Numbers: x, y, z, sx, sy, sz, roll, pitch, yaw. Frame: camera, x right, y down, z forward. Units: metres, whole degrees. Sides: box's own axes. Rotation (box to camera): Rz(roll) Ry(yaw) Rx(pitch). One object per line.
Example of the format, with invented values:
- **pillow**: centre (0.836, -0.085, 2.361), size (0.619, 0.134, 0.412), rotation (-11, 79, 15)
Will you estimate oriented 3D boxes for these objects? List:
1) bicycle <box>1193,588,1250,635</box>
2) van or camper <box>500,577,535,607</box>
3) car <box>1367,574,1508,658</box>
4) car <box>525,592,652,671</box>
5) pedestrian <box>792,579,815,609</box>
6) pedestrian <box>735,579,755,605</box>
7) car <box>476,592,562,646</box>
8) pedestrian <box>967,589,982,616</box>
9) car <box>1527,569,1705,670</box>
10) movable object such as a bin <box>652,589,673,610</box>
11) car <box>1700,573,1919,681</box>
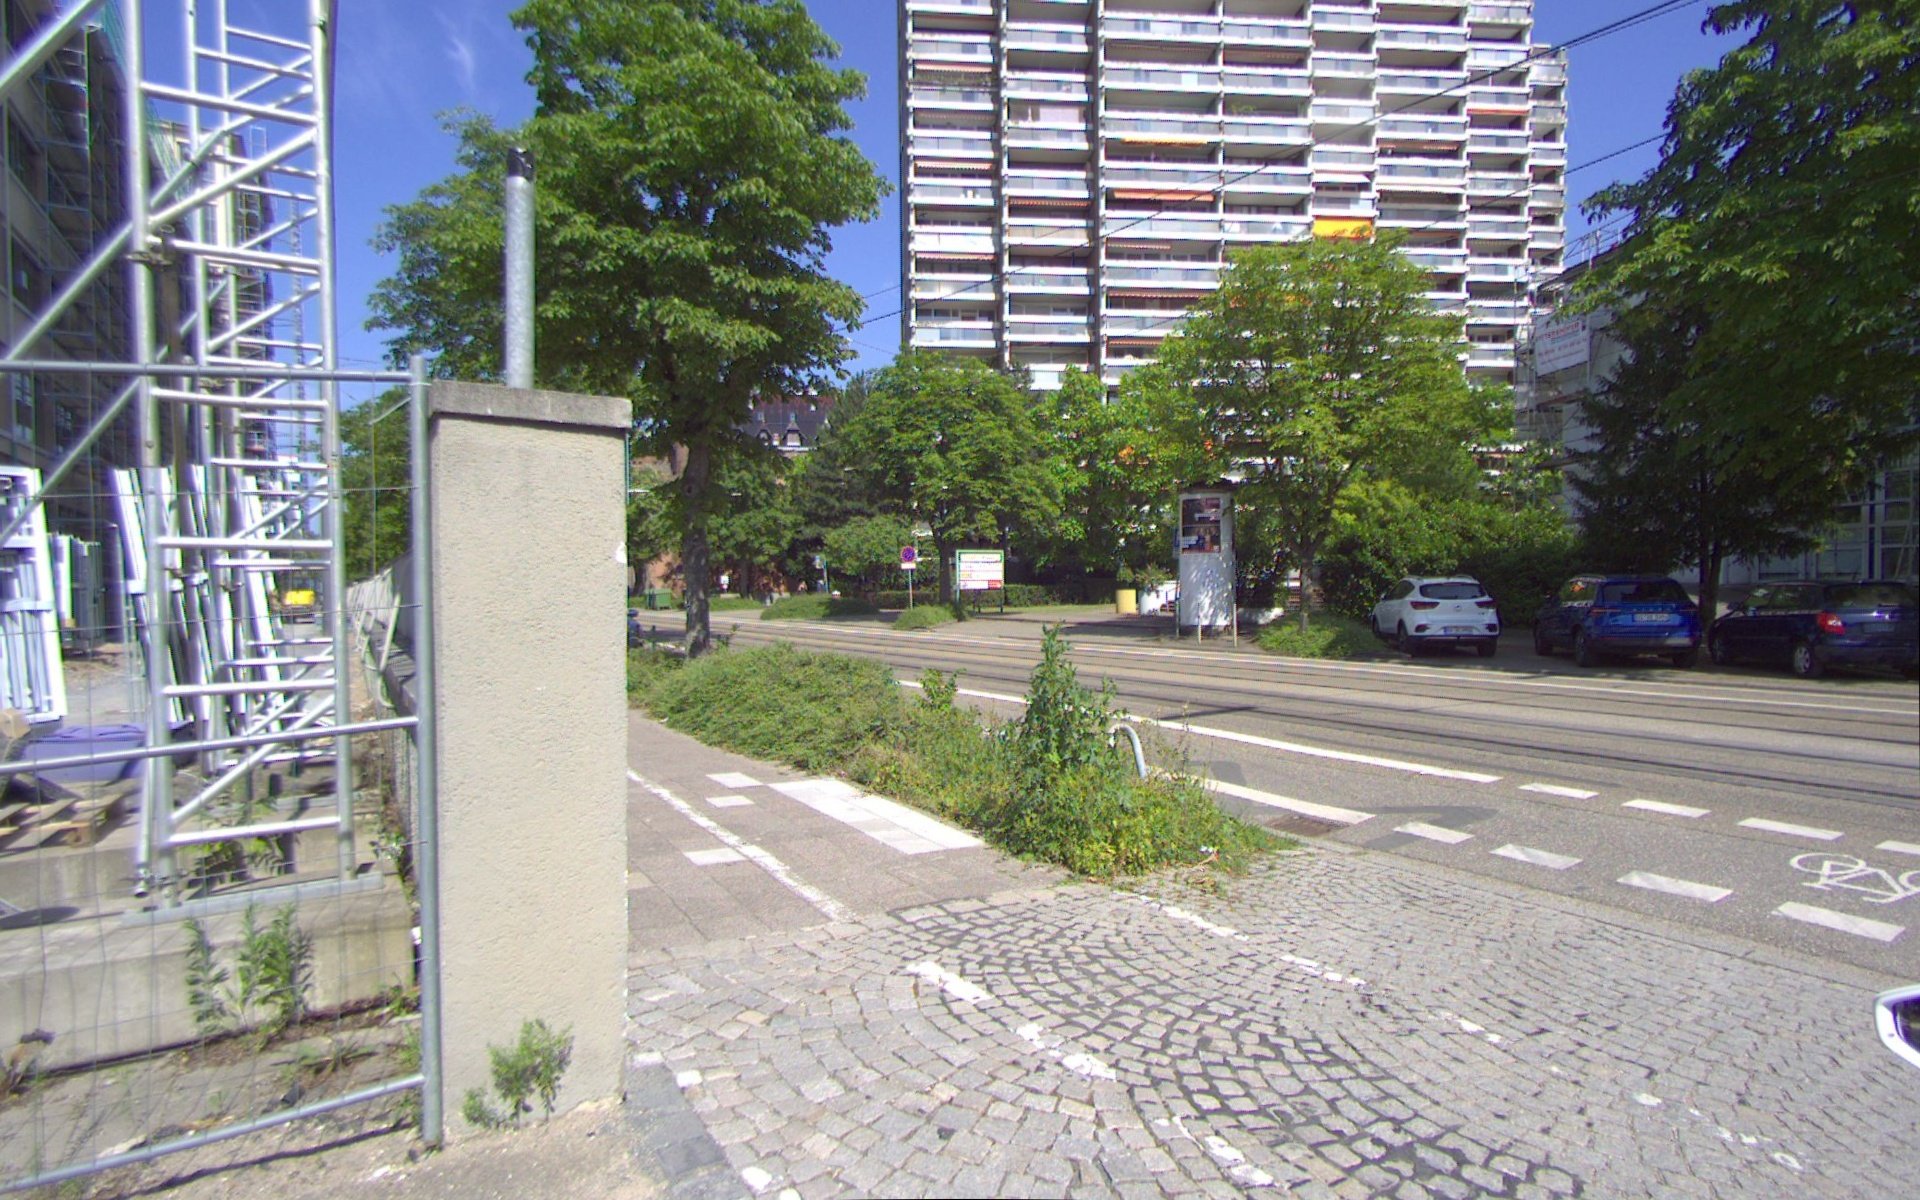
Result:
- **bicycle**: centre (7.513, 0.321, 28.877), size (0.542, 1.326, 1.604), rotation (-1, 1, -37)
- **van or camper**: centre (-40.255, -0.767, 91.363), size (2.028, 2.655, 5.808), rotation (-1, 1, -33)
- **car**: centre (10.130, 0.283, 21.631), size (1.783, 1.628, 3.947), rotation (0, 1, 10)
- **car**: centre (-8.128, 0.606, 21.760), size (1.801, 1.514, 4.071), rotation (-1, 1, -32)
- **pedestrian**: centre (-9.782, -0.379, 62.821), size (1.047, 1.822, 1.255), rotation (1, 1, -28)
- **pedestrian**: centre (-15.241, -0.583, 71.206), size (1.047, 1.822, 1.255), rotation (1, 1, -29)
- **car**: centre (-13.238, 0.514, 30.021), size (1.801, 1.473, 3.965), rotation (-1, 1, -32)
- **pedestrian**: centre (0.639, 0.103, 44.581), size (0.525, 1.170, 0.700), rotation (-1, 1, -10)
- **car**: centre (12.098, 0.290, 18.816), size (1.745, 1.644, 3.945), rotation (-1, 2, 17)
- **movable object such as a bin**: centre (-21.034, -0.068, 70.943), size (1.249, 1.473, 1.072), rotation (0, 1, -27)
- **car**: centre (13.700, 0.370, 16.213), size (1.544, 1.551, 3.460), rotation (0, 1, 12)
